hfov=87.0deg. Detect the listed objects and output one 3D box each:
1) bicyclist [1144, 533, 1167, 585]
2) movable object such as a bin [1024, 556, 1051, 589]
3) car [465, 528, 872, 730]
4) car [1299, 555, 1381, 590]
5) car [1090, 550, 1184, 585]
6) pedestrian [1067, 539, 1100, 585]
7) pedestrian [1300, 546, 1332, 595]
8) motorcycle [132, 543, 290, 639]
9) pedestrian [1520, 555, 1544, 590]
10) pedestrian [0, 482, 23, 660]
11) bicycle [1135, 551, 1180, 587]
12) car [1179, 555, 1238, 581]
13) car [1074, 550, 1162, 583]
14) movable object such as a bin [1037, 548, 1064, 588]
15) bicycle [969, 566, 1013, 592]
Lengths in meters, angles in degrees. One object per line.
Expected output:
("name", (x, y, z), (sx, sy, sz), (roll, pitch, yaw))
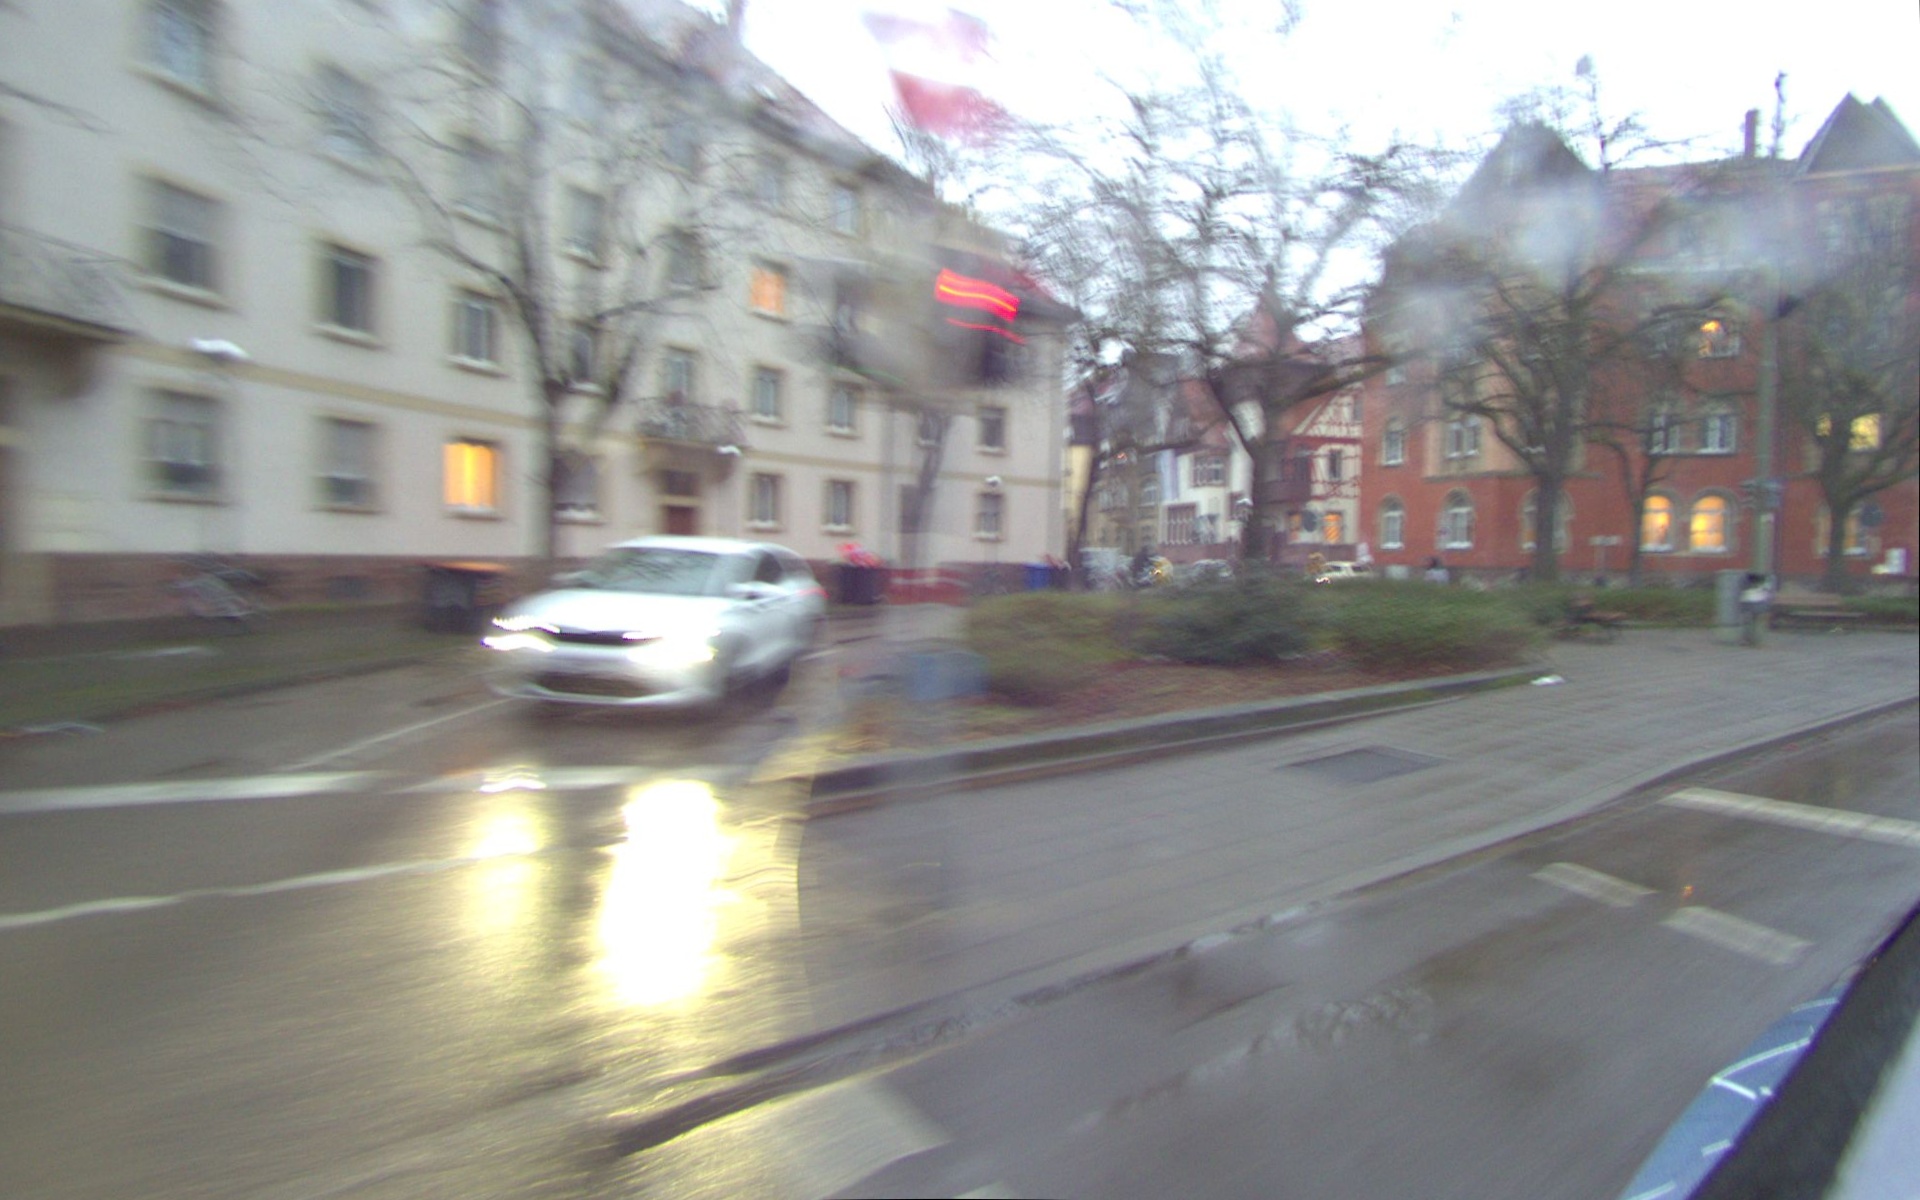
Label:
("bicyclist", (7.292, -1.523, 37.777), (0.667, 1.909, 0.468), (0, 3, -36))
("movable object such as a bin", (2.404, -0.843, 31.238), (0.527, 0.992, 0.641), (4, 3, 42))
("car", (-2.603, 0.070, 10.434), (1.872, 1.528, 4.734), (3, 4, 15))
("car", (18.290, -1.368, 48.888), (1.613, 1.514, 4.011), (1, 3, -16))
("car", (8.255, -1.535, 47.474), (3.918, 1.504, 1.854), (1, 2, -8))
("pedestrian", (4.651, -1.437, 38.060), (0.744, 1.662, 1.125), (1, 3, -20))
("pedestrian", (13.980, -1.158, 39.764), (0.797, 1.886, 0.880), (1, 3, -9))
("motorcycle", (-9.633, -0.143, 13.084), (0.562, 1.118, 1.594), (5, 3, 18))
("pedestrian", (22.629, -1.088, 40.053), (0.596, 1.333, 0.548), (1, 1, -16))
("pedestrian", (-9.408, -0.281, 9.451), (0.678, 1.680, 0.712), (2, 2, 14))
("bicycle", (7.417, -1.165, 37.892), (1.878, 1.307, 0.468), (-1, 3, -36))
("car", (15.062, -1.956, 61.556), (1.613, 1.415, 4.011), (1, 3, -16))
("car", (7.787, -1.655, 50.087), (3.918, 1.493, 1.854), (1, 2, -8))
("movable object such as a bin", (2.848, -1.006, 31.802), (0.527, 1.243, 0.641), (3, 3, 42))
("bicycle", (0.988, -0.669, 32.212), (1.560, 0.775, 0.339), (-1, 3, -39))
